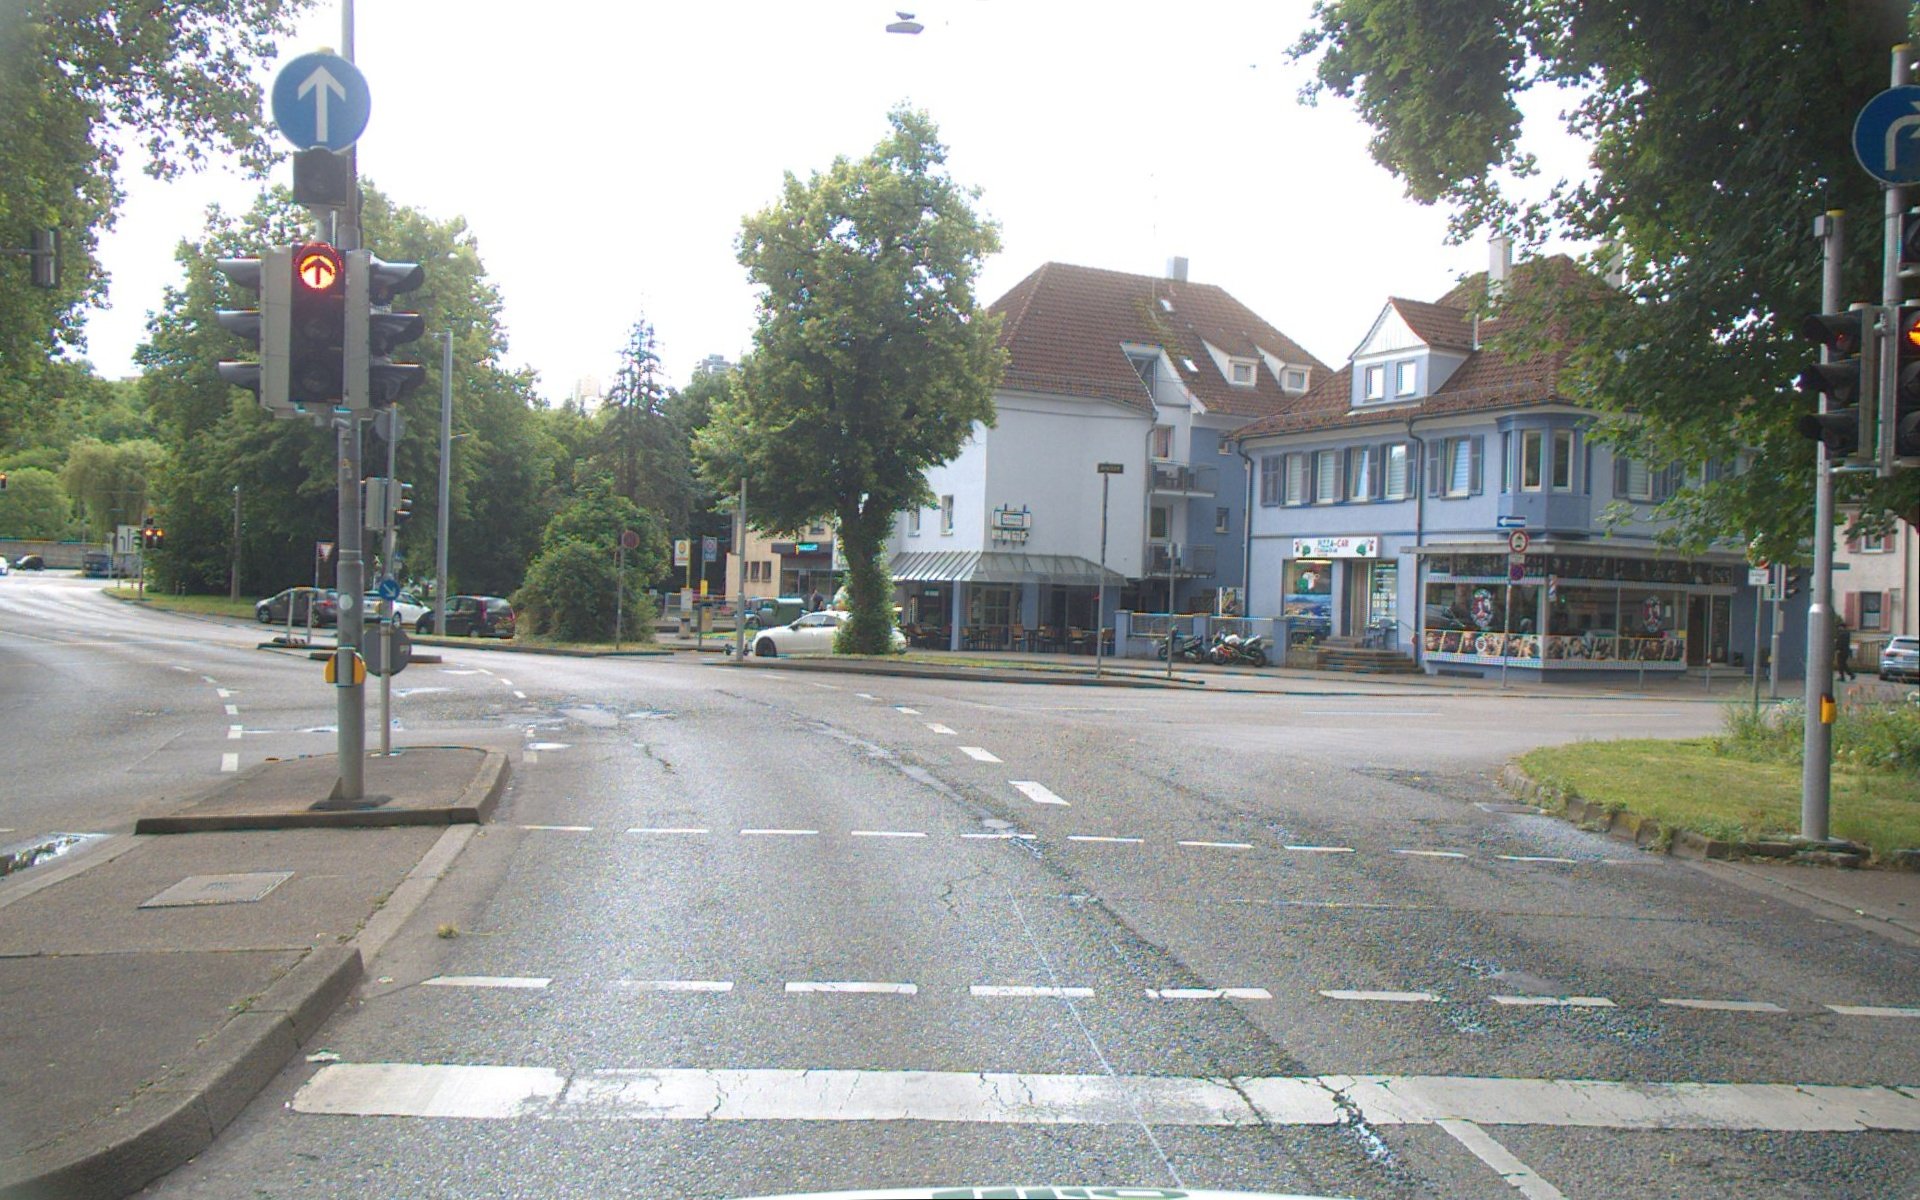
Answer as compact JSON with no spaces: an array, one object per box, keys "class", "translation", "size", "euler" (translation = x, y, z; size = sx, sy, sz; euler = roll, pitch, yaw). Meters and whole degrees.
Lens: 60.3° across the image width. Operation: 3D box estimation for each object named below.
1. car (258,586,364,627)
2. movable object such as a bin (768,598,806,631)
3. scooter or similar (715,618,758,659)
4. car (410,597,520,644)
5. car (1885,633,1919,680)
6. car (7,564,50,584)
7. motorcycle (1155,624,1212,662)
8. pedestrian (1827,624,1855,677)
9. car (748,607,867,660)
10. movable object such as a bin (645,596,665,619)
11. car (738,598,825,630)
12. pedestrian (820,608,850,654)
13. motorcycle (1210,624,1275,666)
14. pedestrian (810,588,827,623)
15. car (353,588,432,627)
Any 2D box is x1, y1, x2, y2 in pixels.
[{"class":"car","translation":[-24.860,0.241,63.386],"size":[3.469,1.490,1.586],"euler":[1,0,12]},{"class":"movable object such as a bin","translation":[-7.719,0.651,73.834],"size":[1.424,1.433,0.959],"euler":[1,0,-27]},{"class":"scooter or similar","translation":[-5.731,0.982,42.534],"size":[0.408,1.029,1.567],"euler":[1,0,20]},{"class":"car","translation":[-16.008,0.657,53.455],"size":[3.519,1.418,1.468],"euler":[1,0,32]},{"class":"car","translation":[29.851,1.734,51.406],"size":[1.471,1.393,3.164],"euler":[1,0,38]},{"class":"car","translation":[-102.216,-2.855,181.483],"size":[3.948,2.049,1.978],"euler":[1,0,-32]},{"class":"motorcycle","translation":[6.792,1.291,50.230],"size":[1.609,1.082,0.690],"euler":[1,0,44]},{"class":"pedestrian","translation":[25.958,1.477,48.725],"size":[0.575,1.544,0.458],"euler":[1,-1,-12]},{"class":"car","translation":[-4.245,0.916,45.951],"size":[3.110,1.378,1.435],"euler":[1,0,34]},{"class":"movable object such as a bin","translation":[-15.853,0.385,85.907],"size":[0.937,1.135,0.381],"euler":[1,0,-22]},{"class":"car","translation":[-8.159,0.634,75.725],"size":[3.690,1.368,1.421],"euler":[1,0,-27]},{"class":"pedestrian","translation":[-4.357,1.079,57.512],"size":[0.754,1.572,0.675],"euler":[1,0,38]},{"class":"motorcycle","translation":[8.272,1.308,48.473],"size":[1.765,1.141,0.692],"euler":[1,0,38]},{"class":"pedestrian","translation":[-6.467,0.231,75.507],"size":[0.662,1.572,0.708],"euler":[1,0,0]},{"class":"car","translation":[-22.669,0.302,66.177],"size":[1.512,1.490,3.398],"euler":[1,0,10]}]
